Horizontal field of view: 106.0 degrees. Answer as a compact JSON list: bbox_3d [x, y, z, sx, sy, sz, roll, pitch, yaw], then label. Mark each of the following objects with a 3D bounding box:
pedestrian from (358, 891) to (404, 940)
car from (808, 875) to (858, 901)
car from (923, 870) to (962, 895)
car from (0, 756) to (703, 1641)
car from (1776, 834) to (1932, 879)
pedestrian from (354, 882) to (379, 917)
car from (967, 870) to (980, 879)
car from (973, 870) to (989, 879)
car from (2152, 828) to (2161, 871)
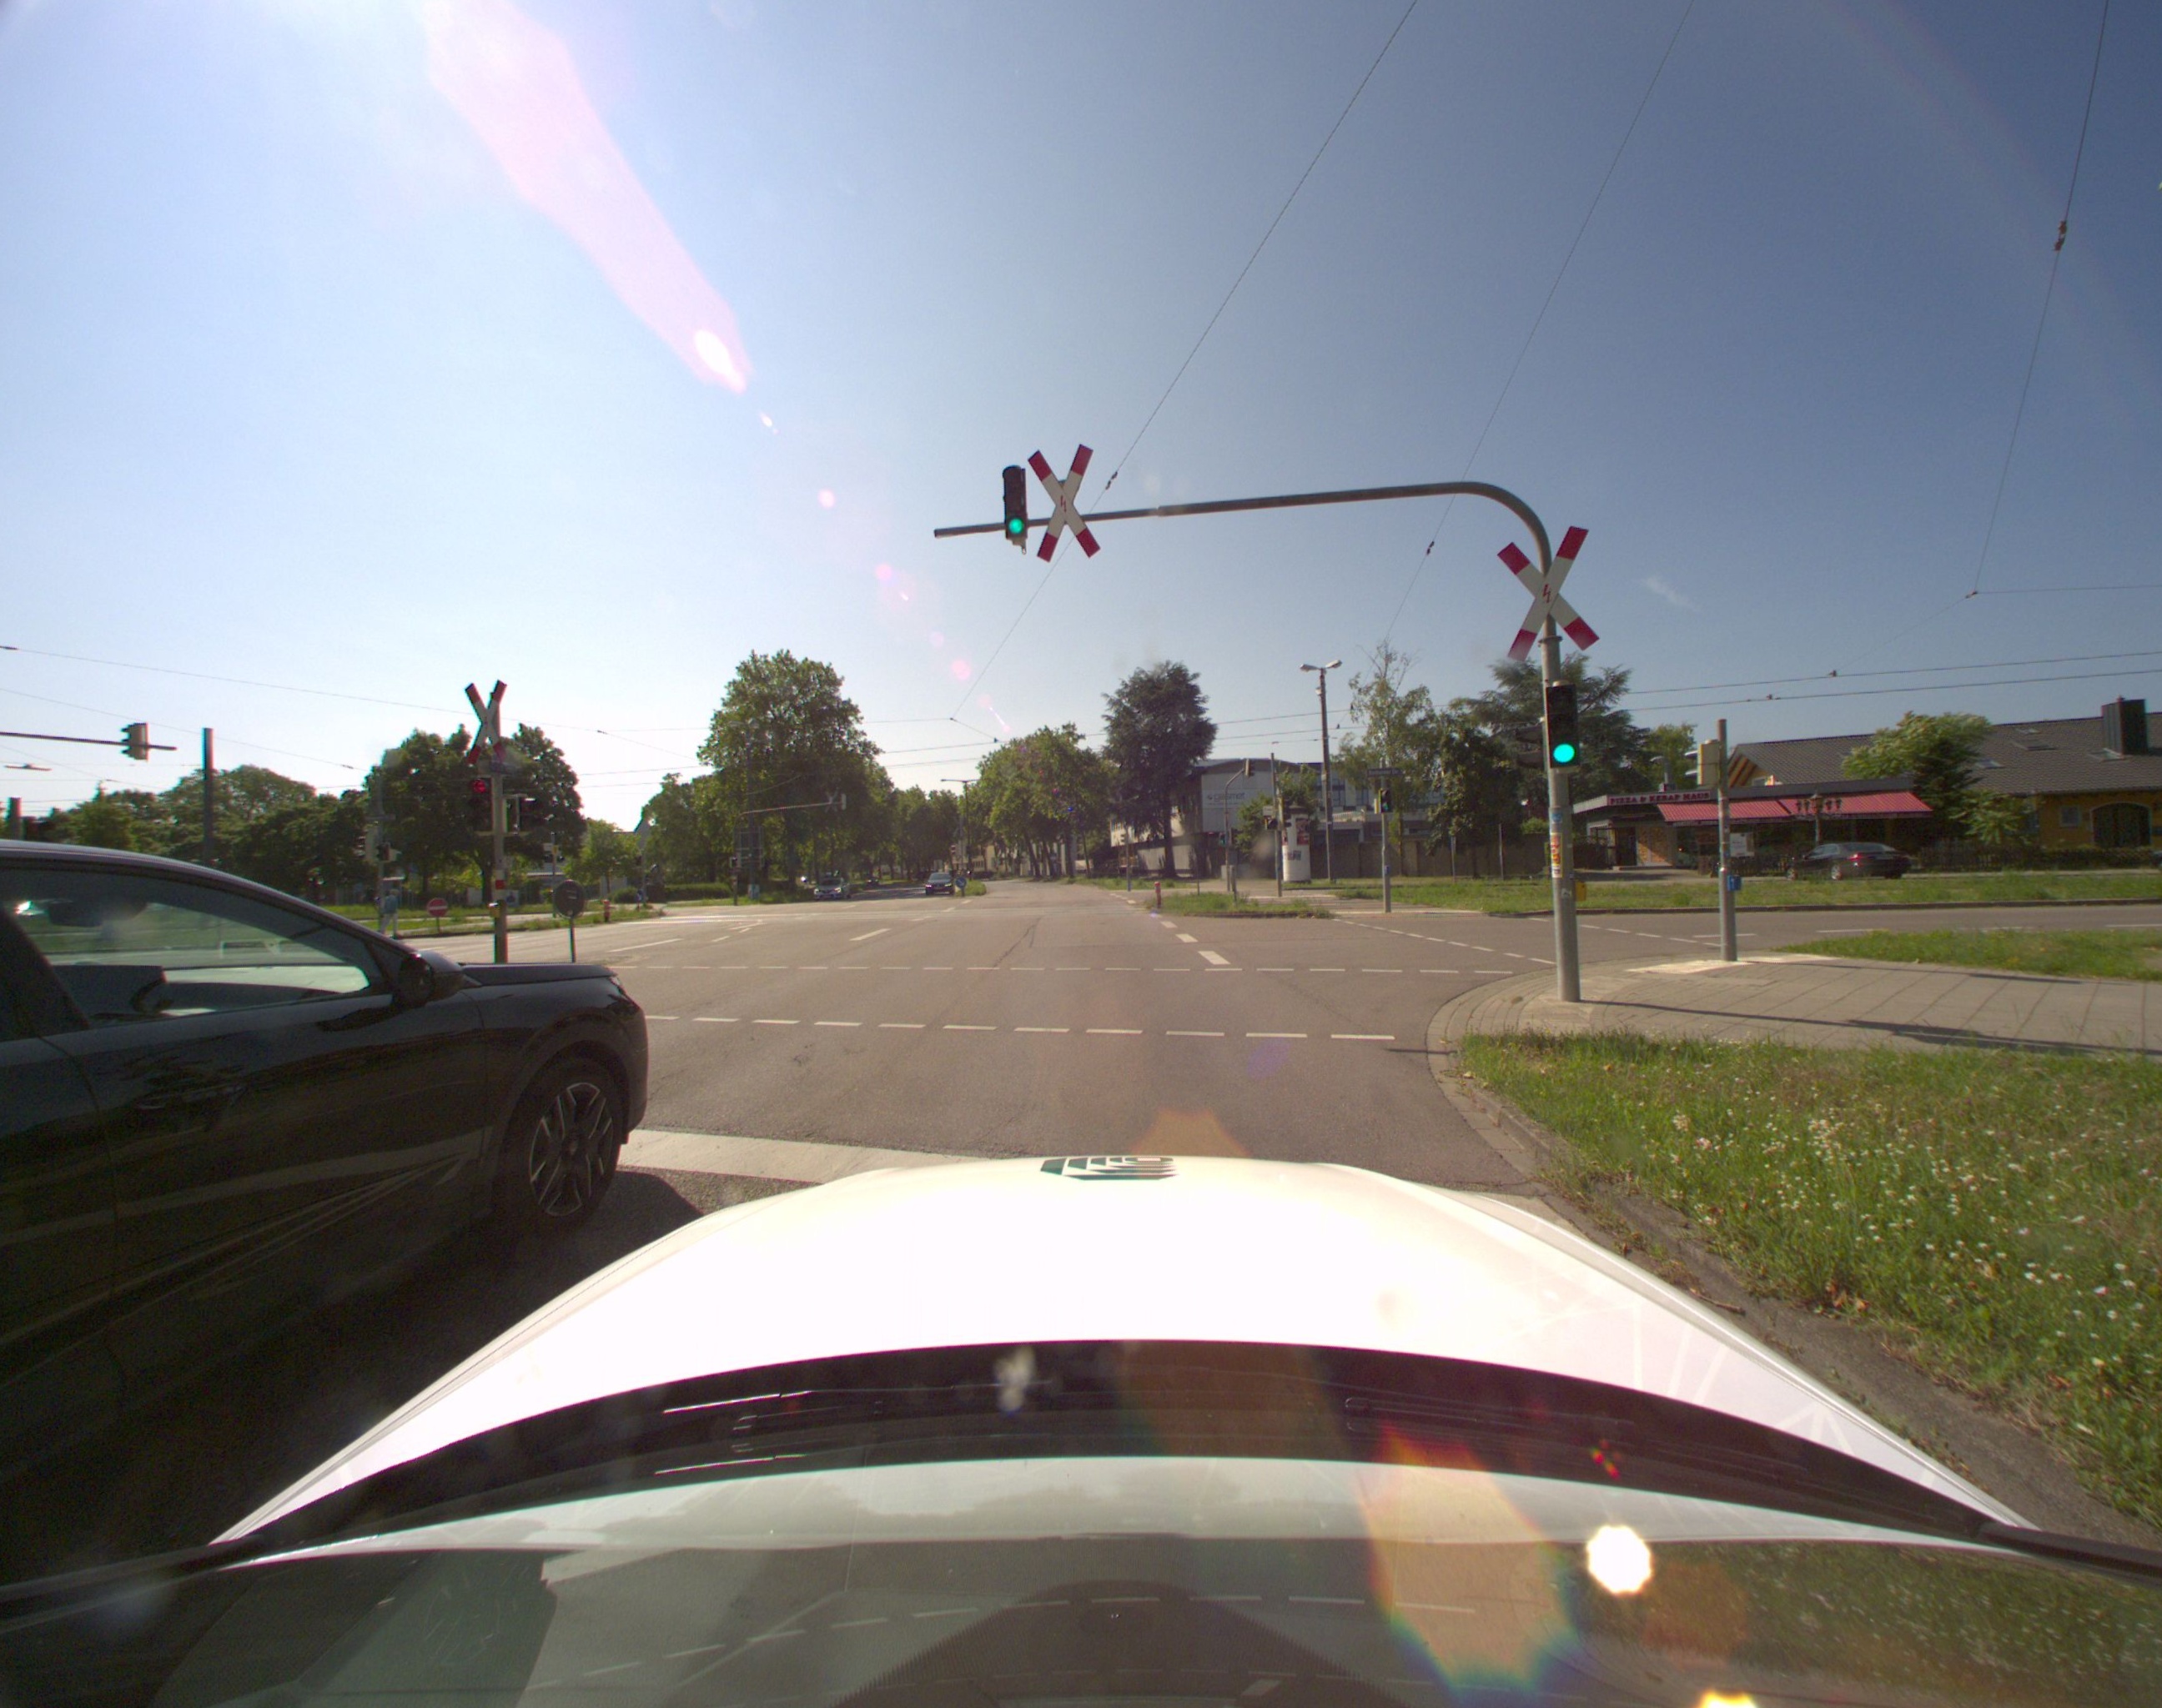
[{"bbox_3d":[-22.144,1.938,25.767,0.691,1.501,0.874,-3,-1,21],"label":"pedestrian"},{"bbox_3d":[-16.384,2.214,54.093,1.687,1.508,4.663,-2,-1,2],"label":"car"},{"bbox_3d":[-9.111,1.878,53.876,1.687,1.508,4.131,-2,-1,2],"label":"car"},{"bbox_3d":[-2.997,0.680,2.076,1.865,1.696,4.437,-1,-1,2],"label":"car"},{"bbox_3d":[28.937,0.171,30.753,2.119,1.499,5.141,-2,-2,17],"label":"car"},{"bbox_3d":[-42.133,2.683,48.002,0.792,2.014,0.710,-2,-1,-8],"label":"pedestrian"},{"bbox_3d":[-19.663,3.742,148.984,1.712,1.488,4.075,-2,-1,-18],"label":"car"},{"bbox_3d":[-17.665,3.684,143.771,1.714,1.487,4.683,-3,0,-22],"label":"car"},{"bbox_3d":[38.650,-0.222,26.432,2.132,1.499,4.198,-1,-1,-5],"label":"car"}]
